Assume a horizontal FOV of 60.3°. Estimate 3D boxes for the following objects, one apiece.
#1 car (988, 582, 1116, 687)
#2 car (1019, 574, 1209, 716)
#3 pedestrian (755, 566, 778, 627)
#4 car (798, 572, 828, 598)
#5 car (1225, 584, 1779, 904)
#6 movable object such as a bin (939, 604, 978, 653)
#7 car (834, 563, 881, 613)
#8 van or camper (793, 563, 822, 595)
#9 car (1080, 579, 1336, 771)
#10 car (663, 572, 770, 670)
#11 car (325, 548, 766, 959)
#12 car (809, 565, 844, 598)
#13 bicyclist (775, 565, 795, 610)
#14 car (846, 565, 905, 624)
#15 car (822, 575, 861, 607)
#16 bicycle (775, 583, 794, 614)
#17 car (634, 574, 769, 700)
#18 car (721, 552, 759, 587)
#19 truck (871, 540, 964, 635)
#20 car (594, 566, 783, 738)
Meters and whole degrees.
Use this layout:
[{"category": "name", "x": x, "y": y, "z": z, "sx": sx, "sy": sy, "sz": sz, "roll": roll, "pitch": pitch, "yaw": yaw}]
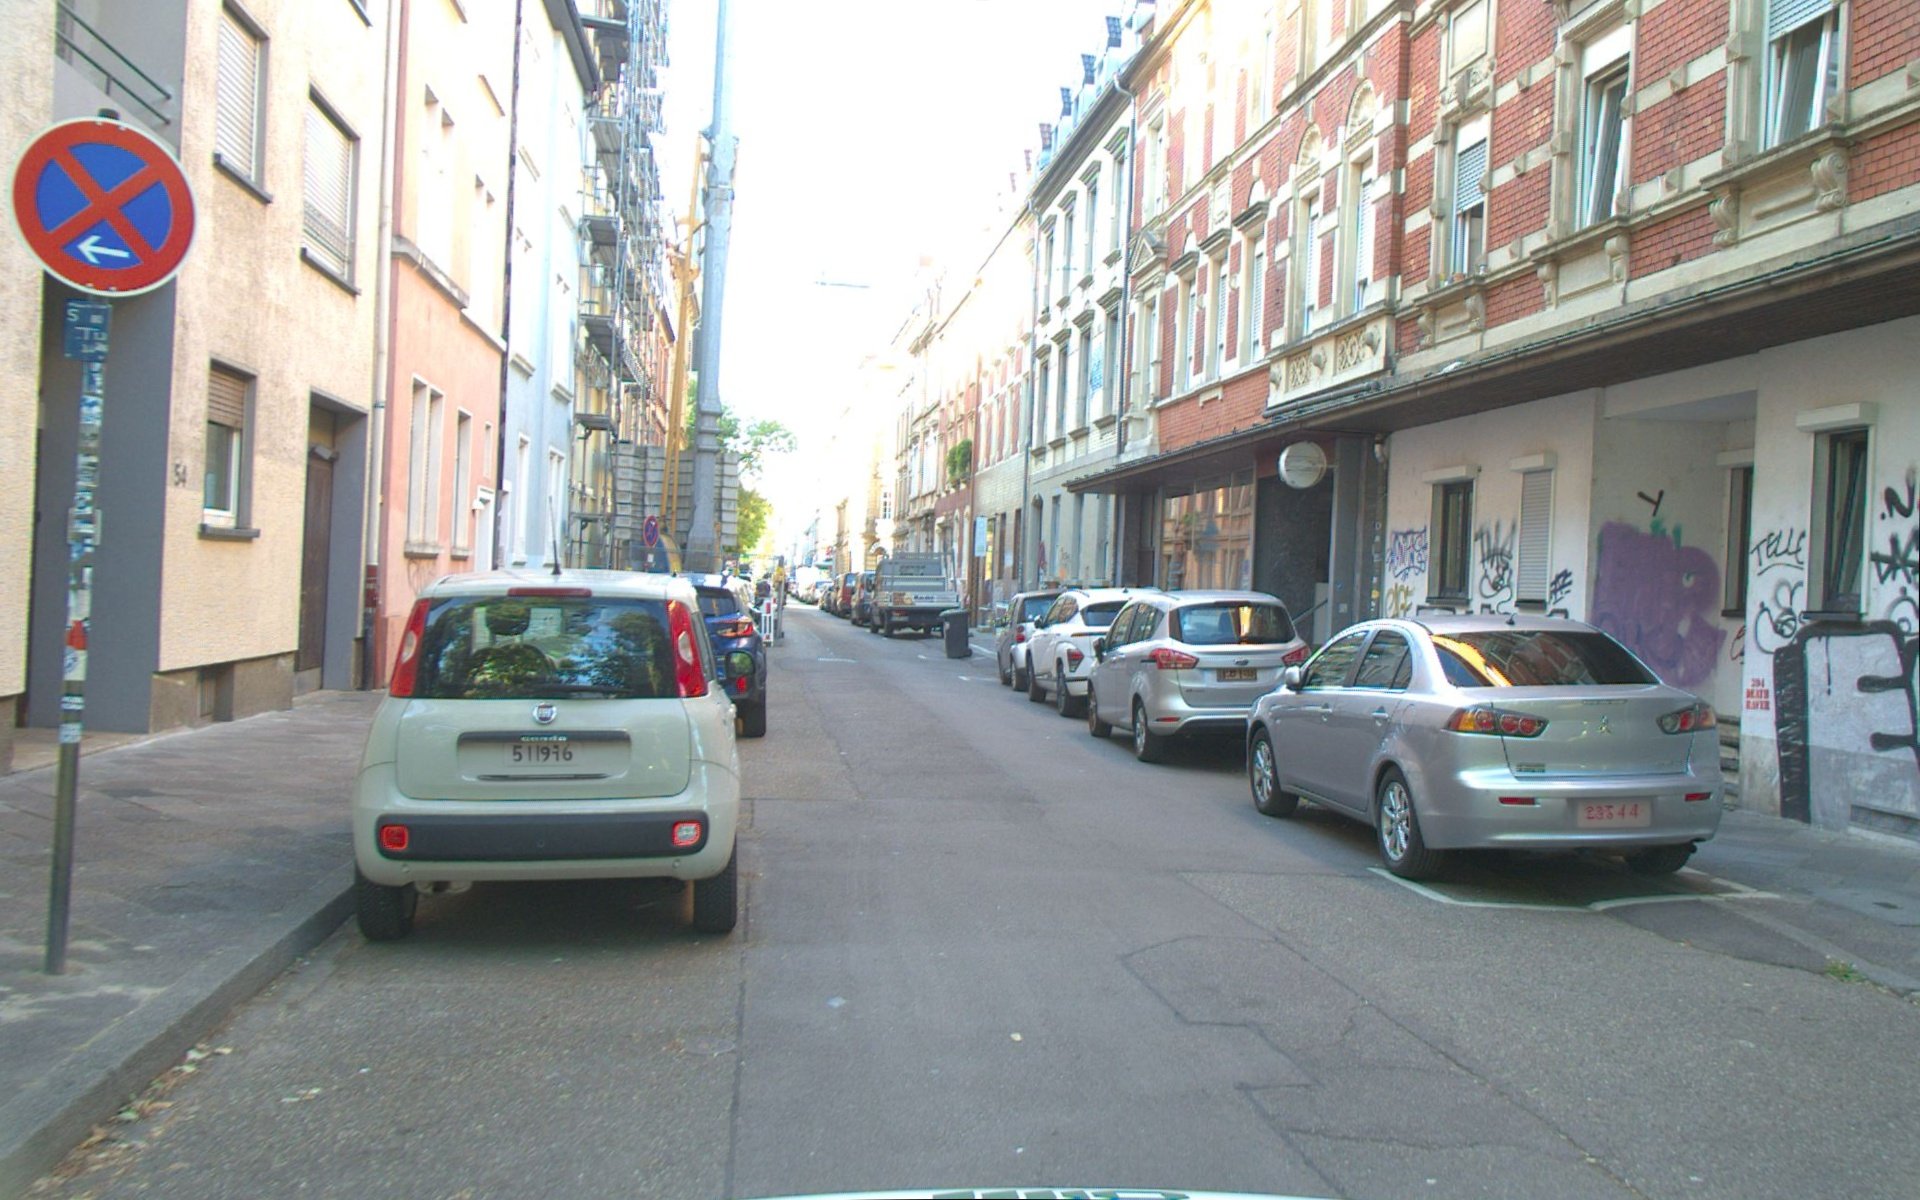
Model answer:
[{"category": "car", "x": 1.473, "y": 0.520, "z": 27.754, "sx": 1.566, "sy": 1.587, "sz": 3.809, "roll": 2, "pitch": 1, "yaw": -6}, {"category": "car", "x": 1.982, "y": 0.542, "z": 22.541, "sx": 1.713, "sy": 1.705, "sz": 4.335, "roll": 2, "pitch": 0, "yaw": -6}, {"category": "pedestrian", "x": -5.659, "y": -0.108, "z": 48.396, "sx": 0.645, "sy": 1.763, "sz": 0.719, "roll": 0, "pitch": 0, "yaw": -8}, {"category": "car", "x": -11.058, "y": -1.159, "z": 124.146, "sx": 1.956, "sy": 1.881, "sz": 3.993, "roll": 1, "pitch": 1, "yaw": -8}, {"category": "car", "x": 3.201, "y": 0.743, "z": 10.832, "sx": 1.688, "sy": 1.589, "sz": 4.392, "roll": 2, "pitch": 1, "yaw": -7}, {"category": "movable object such as a bin", "x": -0.040, "y": 0.642, "z": 37.391, "sx": 0.780, "sy": 1.074, "sz": 0.659, "roll": 2, "pitch": 0, "yaw": -7}, {"category": "car", "x": -4.500, "y": -0.521, "z": 72.302, "sx": 1.644, "sy": 2.066, "sz": 3.861, "roll": 2, "pitch": 0, "yaw": -9}, {"category": "van or camper", "x": -12.760, "y": -1.752, "z": 138.218, "sx": 1.958, "sy": 2.552, "sz": 4.191, "roll": 1, "pitch": 1, "yaw": -11}, {"category": "car", "x": 2.397, "y": 0.669, "z": 16.923, "sx": 1.608, "sy": 1.685, "sz": 3.864, "roll": 2, "pitch": 0, "yaw": -6}, {"category": "car", "x": -4.136, "y": 0.312, "z": 28.414, "sx": 1.643, "sy": 1.503, "sz": 4.600, "roll": 2, "pitch": 0, "yaw": -7}, {"category": "car", "x": -1.906, "y": 0.578, "z": 8.353, "sx": 1.644, "sy": 1.566, "sz": 3.861, "roll": 1, "pitch": 0, "yaw": -9}, {"category": "car", "x": -8.912, "y": -1.257, "z": 110.152, "sx": 1.956, "sy": 2.048, "sz": 3.993, "roll": 2, "pitch": 1, "yaw": -8}, {"category": "bicyclist", "x": -7.266, "y": -0.529, "z": 68.704, "sx": 0.716, "sy": 1.792, "sz": 0.834, "roll": 3, "pitch": 1, "yaw": -7}, {"category": "car", "x": -3.084, "y": -0.211, "z": 59.901, "sx": 1.644, "sy": 1.997, "sz": 4.100, "roll": 2, "pitch": 0, "yaw": -9}, {"category": "car", "x": -6.157, "y": -0.467, "z": 85.438, "sx": 1.644, "sy": 1.598, "sz": 3.861, "roll": 2, "pitch": 0, "yaw": -9}, {"category": "bicycle", "x": -7.279, "y": -0.062, "z": 68.640, "sx": 0.711, "sy": 1.207, "sz": 2.040, "roll": 3, "pitch": 1, "yaw": -7}, {"category": "car", "x": -3.531, "y": 0.445, "z": 23.009, "sx": 1.643, "sy": 1.538, "sz": 4.407, "roll": 2, "pitch": 0, "yaw": -7}, {"category": "car", "x": -10.631, "y": -1.458, "z": 79.683, "sx": 1.644, "sy": 1.598, "sz": 3.861, "roll": 2, "pitch": 0, "yaw": -9}, {"category": "truck", "x": -1.336, "y": -0.381, "z": 49.559, "sx": 2.149, "sy": 2.652, "sz": 5.224, "roll": 1, "pitch": 1, "yaw": -8}, {"category": "car", "x": -2.833, "y": 0.458, "z": 17.345, "sx": 1.697, "sy": 1.566, "sz": 4.368, "roll": 1, "pitch": 1, "yaw": -9}]
